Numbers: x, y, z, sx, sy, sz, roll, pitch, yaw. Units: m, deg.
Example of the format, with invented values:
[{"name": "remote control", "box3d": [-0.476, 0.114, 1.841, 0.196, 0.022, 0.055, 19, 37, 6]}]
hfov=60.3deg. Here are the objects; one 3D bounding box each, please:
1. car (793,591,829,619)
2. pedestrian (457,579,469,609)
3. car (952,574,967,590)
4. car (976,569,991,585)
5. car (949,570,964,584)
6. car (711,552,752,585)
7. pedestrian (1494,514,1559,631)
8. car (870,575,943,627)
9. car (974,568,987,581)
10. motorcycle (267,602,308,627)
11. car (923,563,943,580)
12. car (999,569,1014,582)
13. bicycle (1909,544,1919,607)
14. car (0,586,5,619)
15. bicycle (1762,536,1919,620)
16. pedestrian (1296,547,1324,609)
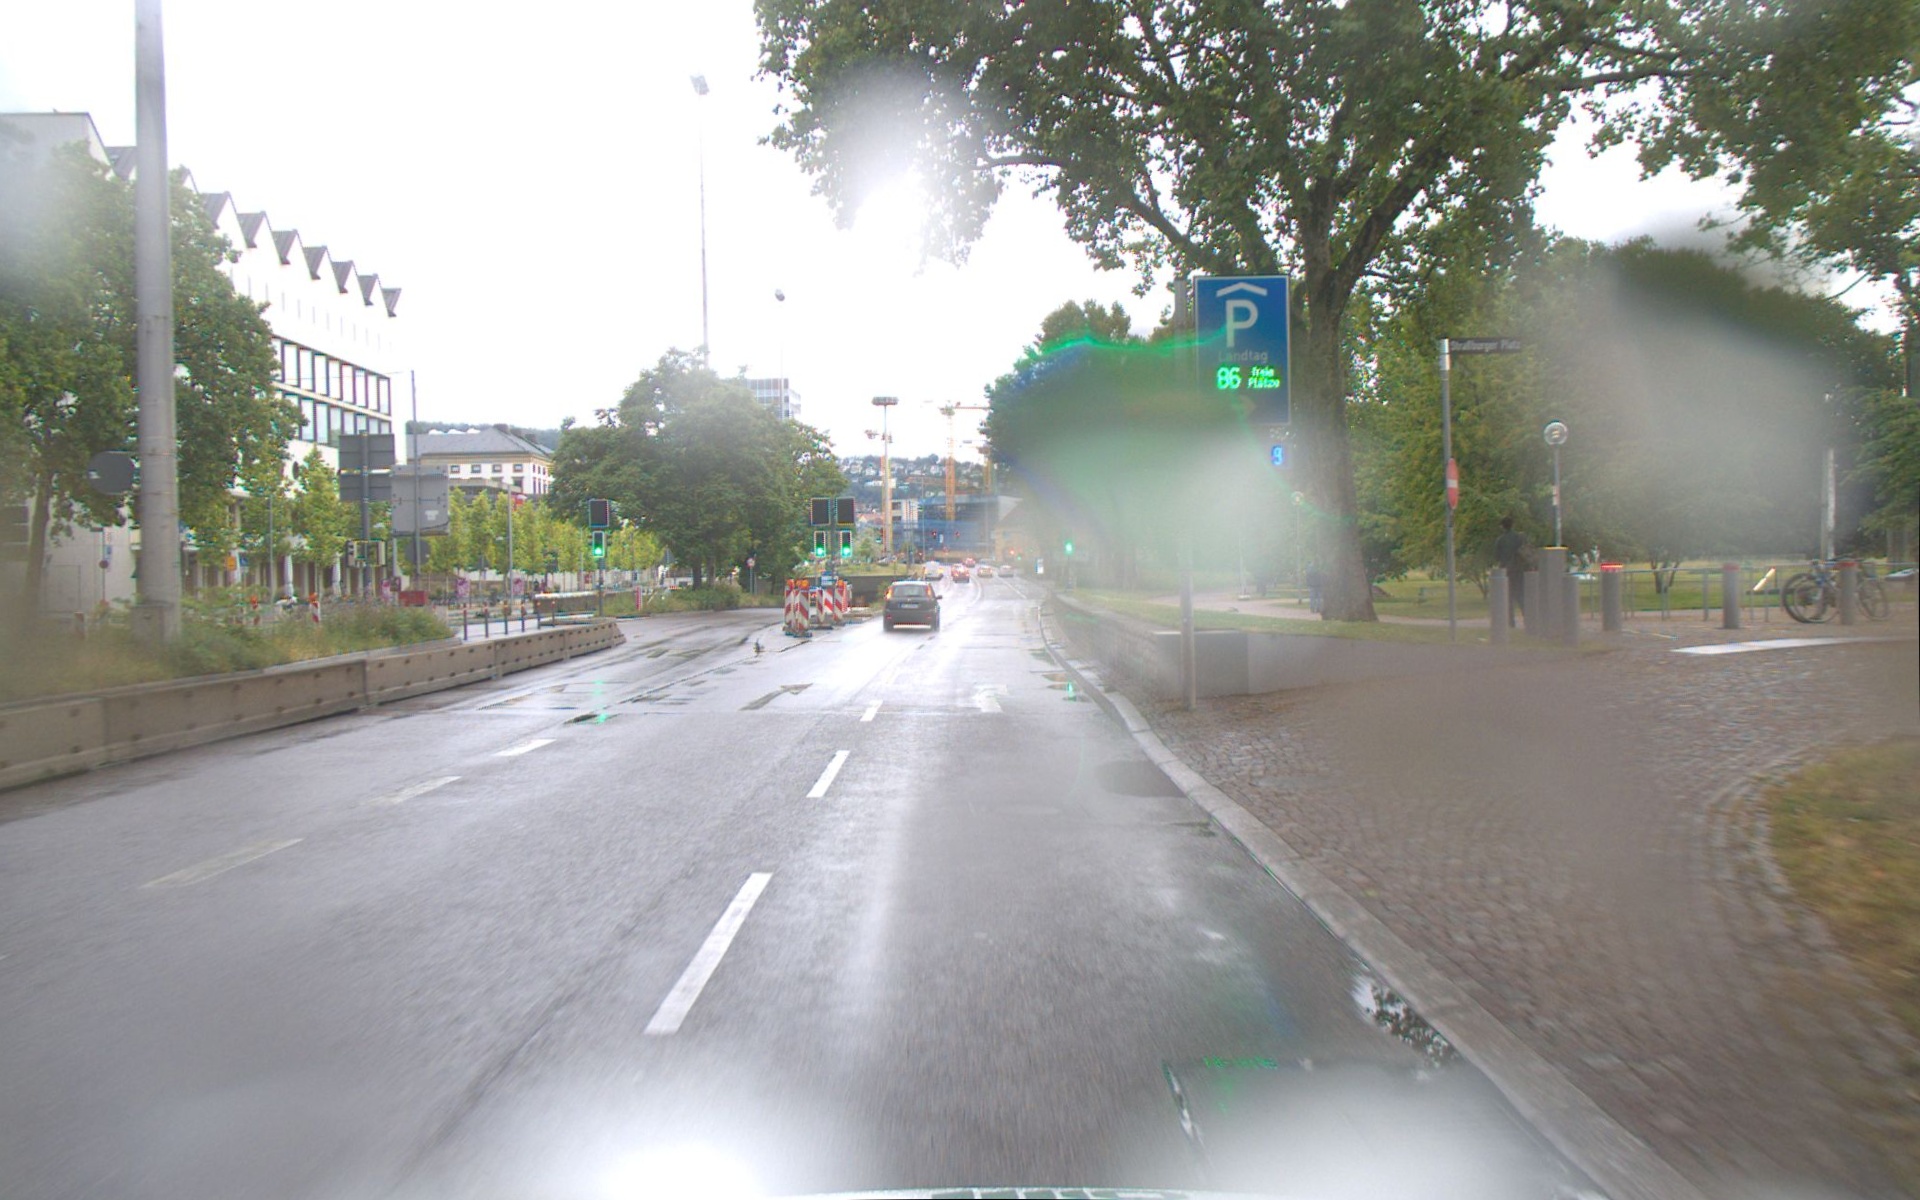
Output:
[{"name": "car", "box3d": [-10.152, 0.341, 112.967, 1.952, 1.812, 4.001, -2, 1, 1]}, {"name": "pedestrian", "box3d": [-34.645, -0.432, 115.279, 0.535, 2.049, 0.524, -2, -1, -35]}, {"name": "car", "box3d": [-0.092, -2.181, 202.179, 1.703, 1.802, 4.000, -3, 0, 0]}, {"name": "car", "box3d": [3.239, -3.205, 228.722, 1.947, 2.049, 3.998, -3, 0, -2]}, {"name": "car", "box3d": [-0.526, -3.222, 236.197, 1.952, 1.813, 4.001, -3, 0, 1]}, {"name": "car", "box3d": [-12.267, -1.690, 88.843, 1.955, 1.660, 3.996, -1, 0, -5]}, {"name": "pedestrian", "box3d": [8.758, -0.422, 25.601, 0.691, 1.748, 0.692, -3, 1, 0]}, {"name": "car", "box3d": [-1.672, 0.065, 50.510, 1.809, 1.441, 3.832, -3, 0, -8]}, {"name": "car", "box3d": [2.883, -3.594, 233.929, 1.677, 1.719, 3.850, -3, 0, 2]}, {"name": "motorcycle", "box3d": [-33.251, 0.725, 81.804, 1.813, 1.174, 0.423, -2, 0, -28]}, {"name": "car", "box3d": [-3.464, -3.647, 212.428, 2.173, 2.049, 4.002, -2, -1, 4]}, {"name": "car", "box3d": [6.511, -3.450, 231.469, 1.952, 1.627, 4.001, -3, 0, 2]}, {"name": "bicycle", "box3d": [17.531, -0.451, 28.810, 1.610, 1.104, 0.708, -2, 1, -6]}, {"name": "car", "box3d": [-48.842, 0.161, 80.114, 3.907, 1.624, 1.999, -1, 0, -3]}, {"name": "bicycle", "box3d": [13.405, -0.339, 25.168, 1.998, 1.194, 0.957, -2, 1, -11]}, {"name": "pedestrian", "box3d": [10.306, -0.664, 48.732, 0.583, 1.786, 0.725, -3, 1, -3]}]
